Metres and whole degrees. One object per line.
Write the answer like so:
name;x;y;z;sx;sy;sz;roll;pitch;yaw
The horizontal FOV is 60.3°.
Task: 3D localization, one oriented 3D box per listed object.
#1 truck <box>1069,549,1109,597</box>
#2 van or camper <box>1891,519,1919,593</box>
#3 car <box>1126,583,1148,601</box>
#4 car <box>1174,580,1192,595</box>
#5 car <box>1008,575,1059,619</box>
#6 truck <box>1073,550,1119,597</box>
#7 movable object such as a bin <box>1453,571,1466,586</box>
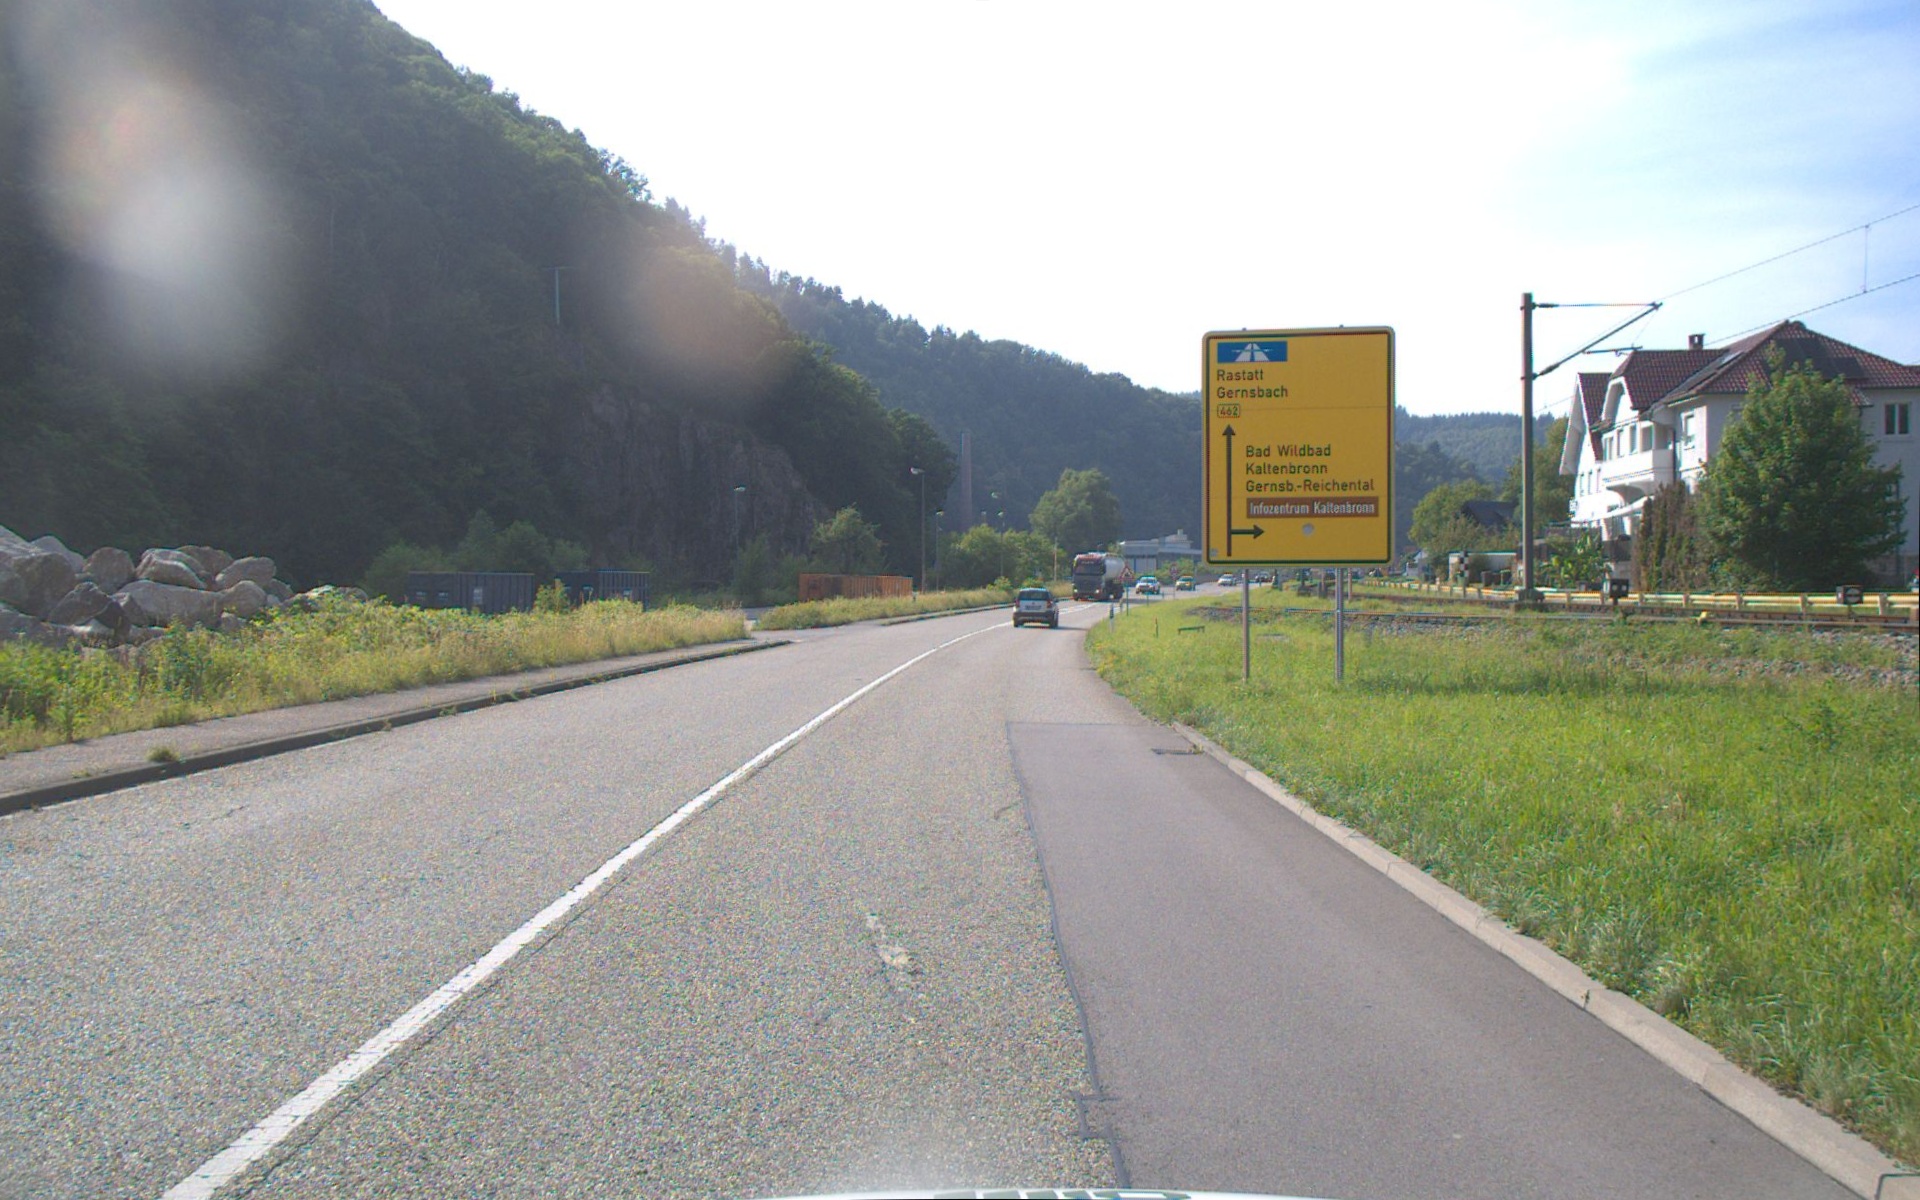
truck;10.888;-2.264;138.565;2.691;3.902;8.205;1;1;9
van or camper;28.066;-1.281;43.981;5.301;1.962;2.122;-2;0;9
car;18.141;-0.810;169.138;1.951;1.789;4.473;2;1;9
car;25.337;-1.451;188.014;1.687;1.653;3.800;1;1;11
car;3.183;-0.157;71.041;1.951;1.753;3.992;-2;0;5
truck;12.042;-2.337;145.061;2.691;3.902;14.575;1;1;10
movable object such as a bin;34.693;-1.496;114.896;0.790;1.068;0.913;2;2;12
